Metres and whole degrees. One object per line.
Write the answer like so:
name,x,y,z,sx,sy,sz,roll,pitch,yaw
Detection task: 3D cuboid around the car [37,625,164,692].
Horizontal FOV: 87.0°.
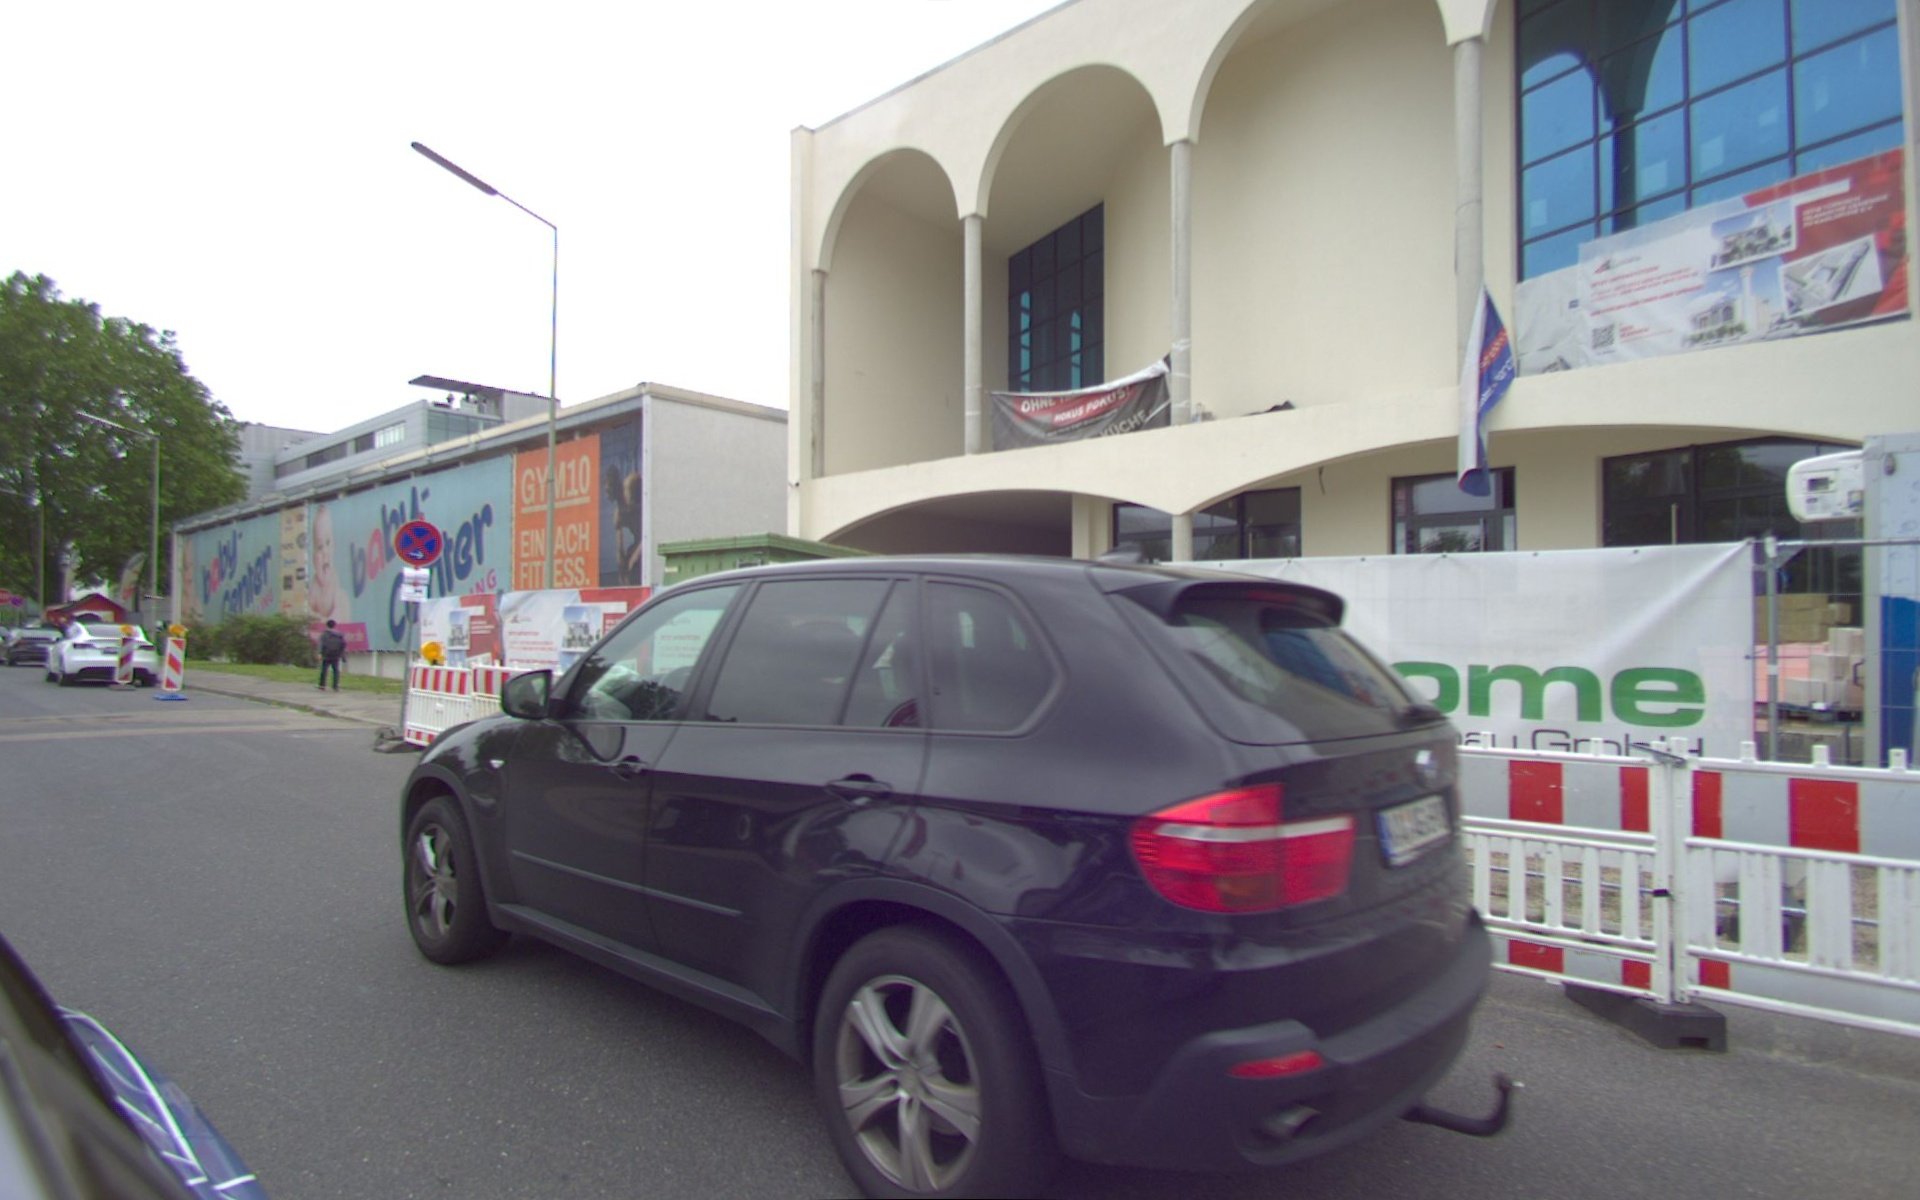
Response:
car,-22.356,1.504,26.285,4.148,1.586,1.903,-2,-5,42

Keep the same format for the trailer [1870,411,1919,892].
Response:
trailer,6.875,0.270,5.177,3.192,2.627,1.778,-2,-3,44

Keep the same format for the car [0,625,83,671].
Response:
car,-34.015,1.762,37.348,4.148,1.586,1.903,-2,-5,42

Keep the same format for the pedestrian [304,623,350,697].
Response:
pedestrian,-14.289,1.335,22.844,0.782,1.591,0.603,-1,0,-42

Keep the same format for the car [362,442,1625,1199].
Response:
car,-0.359,0.677,3.889,4.652,1.674,1.938,-1,-4,41

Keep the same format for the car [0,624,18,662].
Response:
car,-42.458,1.828,43.887,4.148,1.586,1.903,-2,-5,42
